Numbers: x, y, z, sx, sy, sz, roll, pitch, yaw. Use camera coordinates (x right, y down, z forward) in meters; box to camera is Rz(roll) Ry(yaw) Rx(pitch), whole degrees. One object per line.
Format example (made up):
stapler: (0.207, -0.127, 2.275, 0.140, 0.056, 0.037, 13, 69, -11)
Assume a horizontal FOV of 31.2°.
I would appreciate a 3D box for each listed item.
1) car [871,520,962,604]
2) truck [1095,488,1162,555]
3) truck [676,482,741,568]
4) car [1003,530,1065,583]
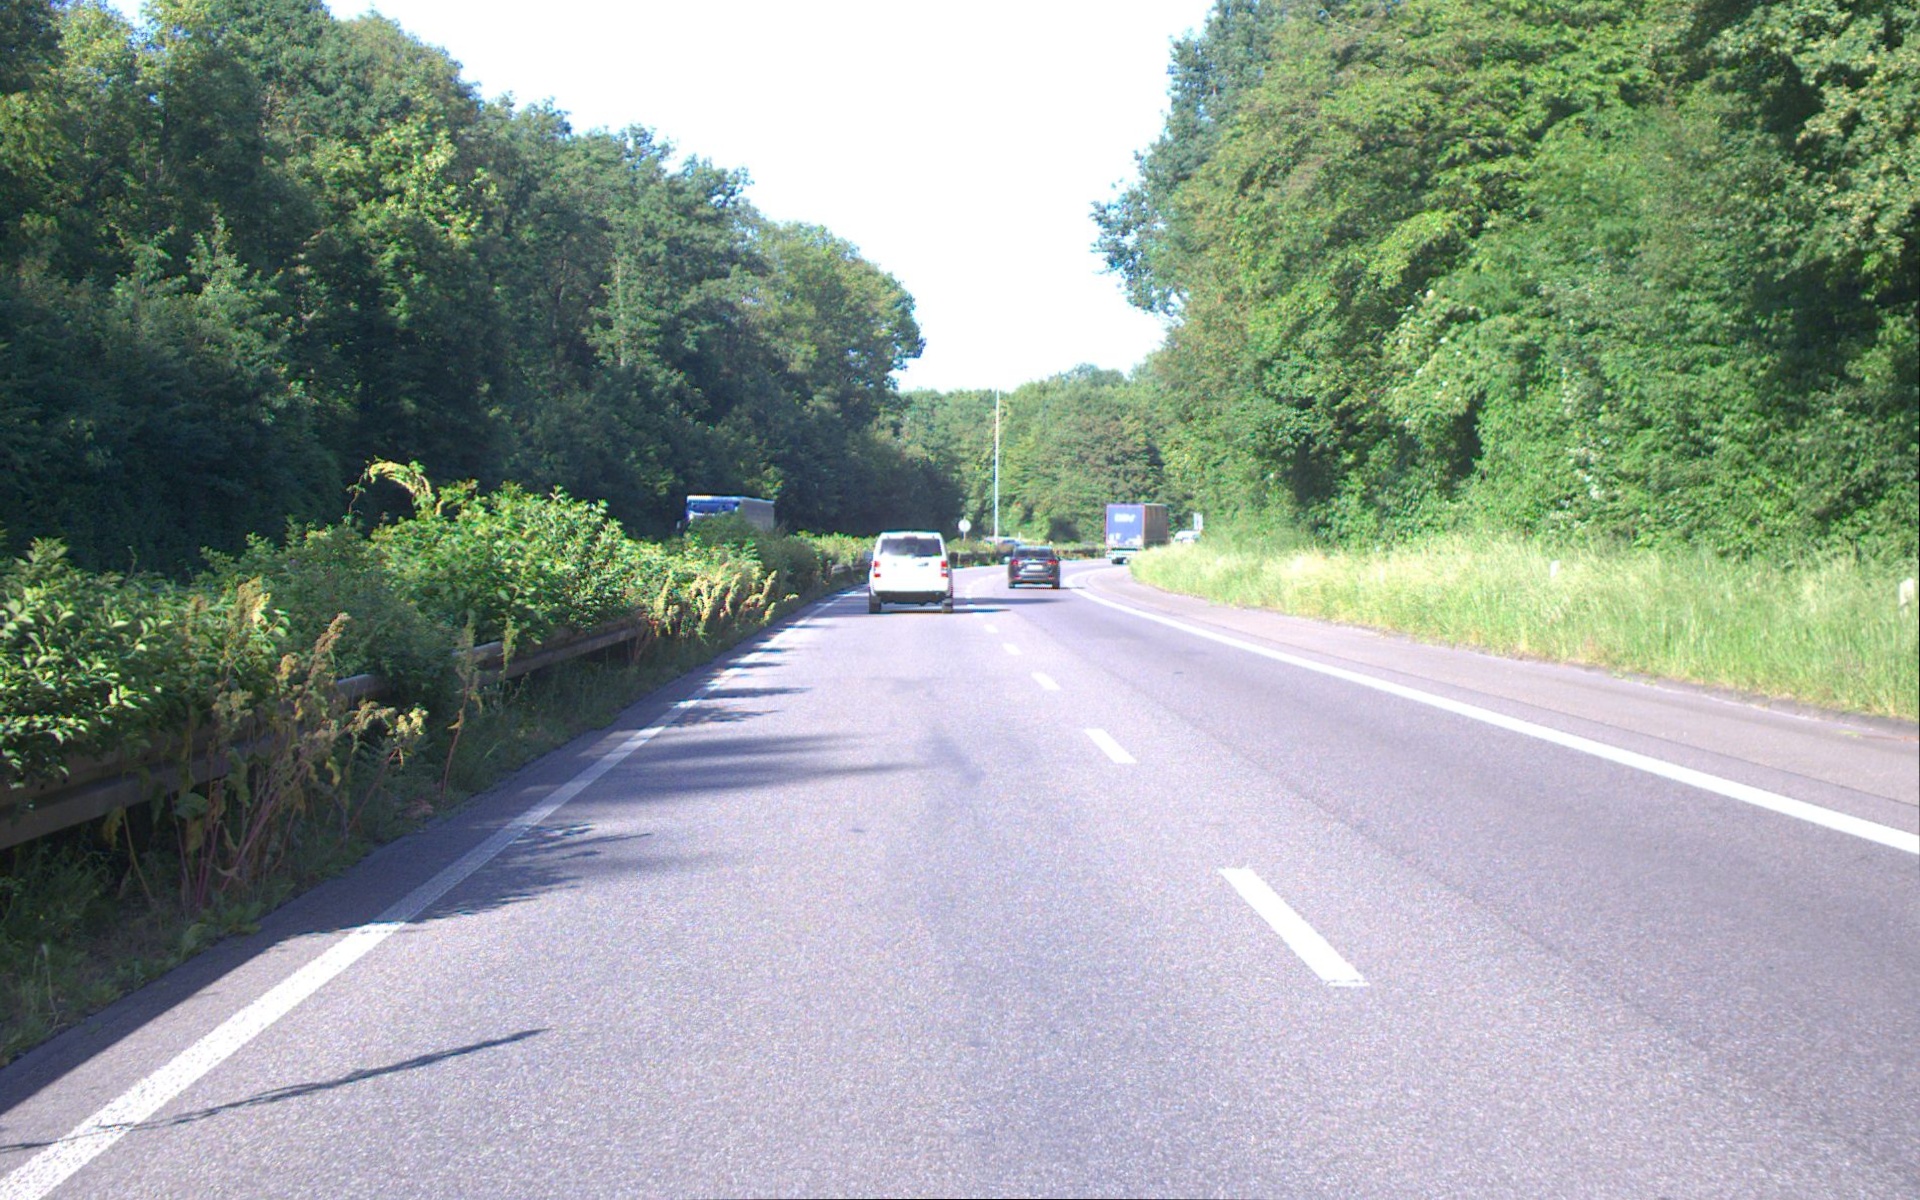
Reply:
car: (-0.982, -0.841, 76.341, 1.951, 1.776, 4.588, 1, 1, -1)
truck: (11.434, -5.279, 232.312, 3.735, 4.328, 9.301, 1, 1, 8)
truck: (-12.199, -3.613, 167.047, 2.716, 4.082, 5.437, 1, 1, 0)
car: (2.562, -1.498, 119.515, 1.951, 1.776, 4.588, 1, 1, -1)
